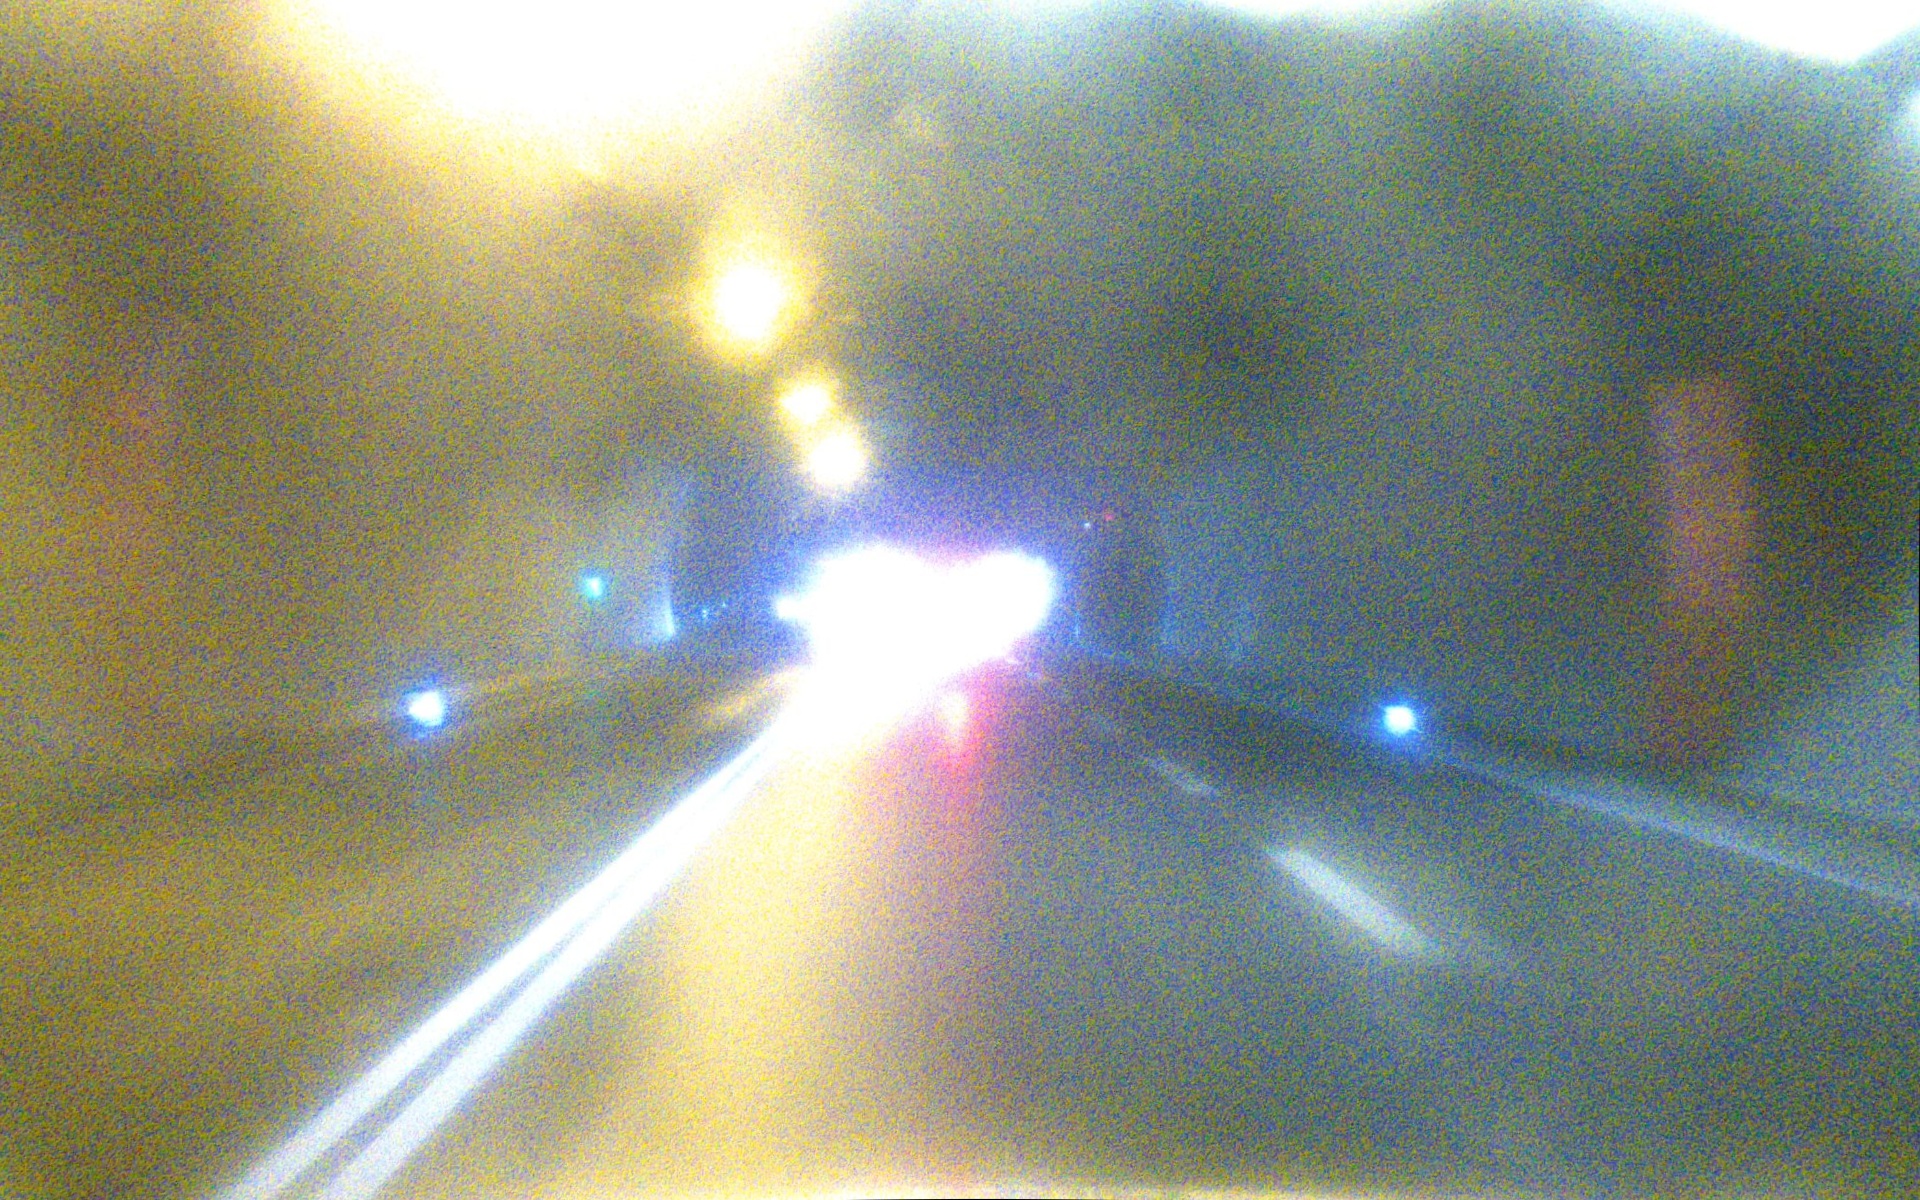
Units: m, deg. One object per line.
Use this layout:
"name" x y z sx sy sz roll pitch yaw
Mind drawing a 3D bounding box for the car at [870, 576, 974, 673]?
"car" -0.687 0.423 30.519 1.772 1.650 3.999 1 0 -1
